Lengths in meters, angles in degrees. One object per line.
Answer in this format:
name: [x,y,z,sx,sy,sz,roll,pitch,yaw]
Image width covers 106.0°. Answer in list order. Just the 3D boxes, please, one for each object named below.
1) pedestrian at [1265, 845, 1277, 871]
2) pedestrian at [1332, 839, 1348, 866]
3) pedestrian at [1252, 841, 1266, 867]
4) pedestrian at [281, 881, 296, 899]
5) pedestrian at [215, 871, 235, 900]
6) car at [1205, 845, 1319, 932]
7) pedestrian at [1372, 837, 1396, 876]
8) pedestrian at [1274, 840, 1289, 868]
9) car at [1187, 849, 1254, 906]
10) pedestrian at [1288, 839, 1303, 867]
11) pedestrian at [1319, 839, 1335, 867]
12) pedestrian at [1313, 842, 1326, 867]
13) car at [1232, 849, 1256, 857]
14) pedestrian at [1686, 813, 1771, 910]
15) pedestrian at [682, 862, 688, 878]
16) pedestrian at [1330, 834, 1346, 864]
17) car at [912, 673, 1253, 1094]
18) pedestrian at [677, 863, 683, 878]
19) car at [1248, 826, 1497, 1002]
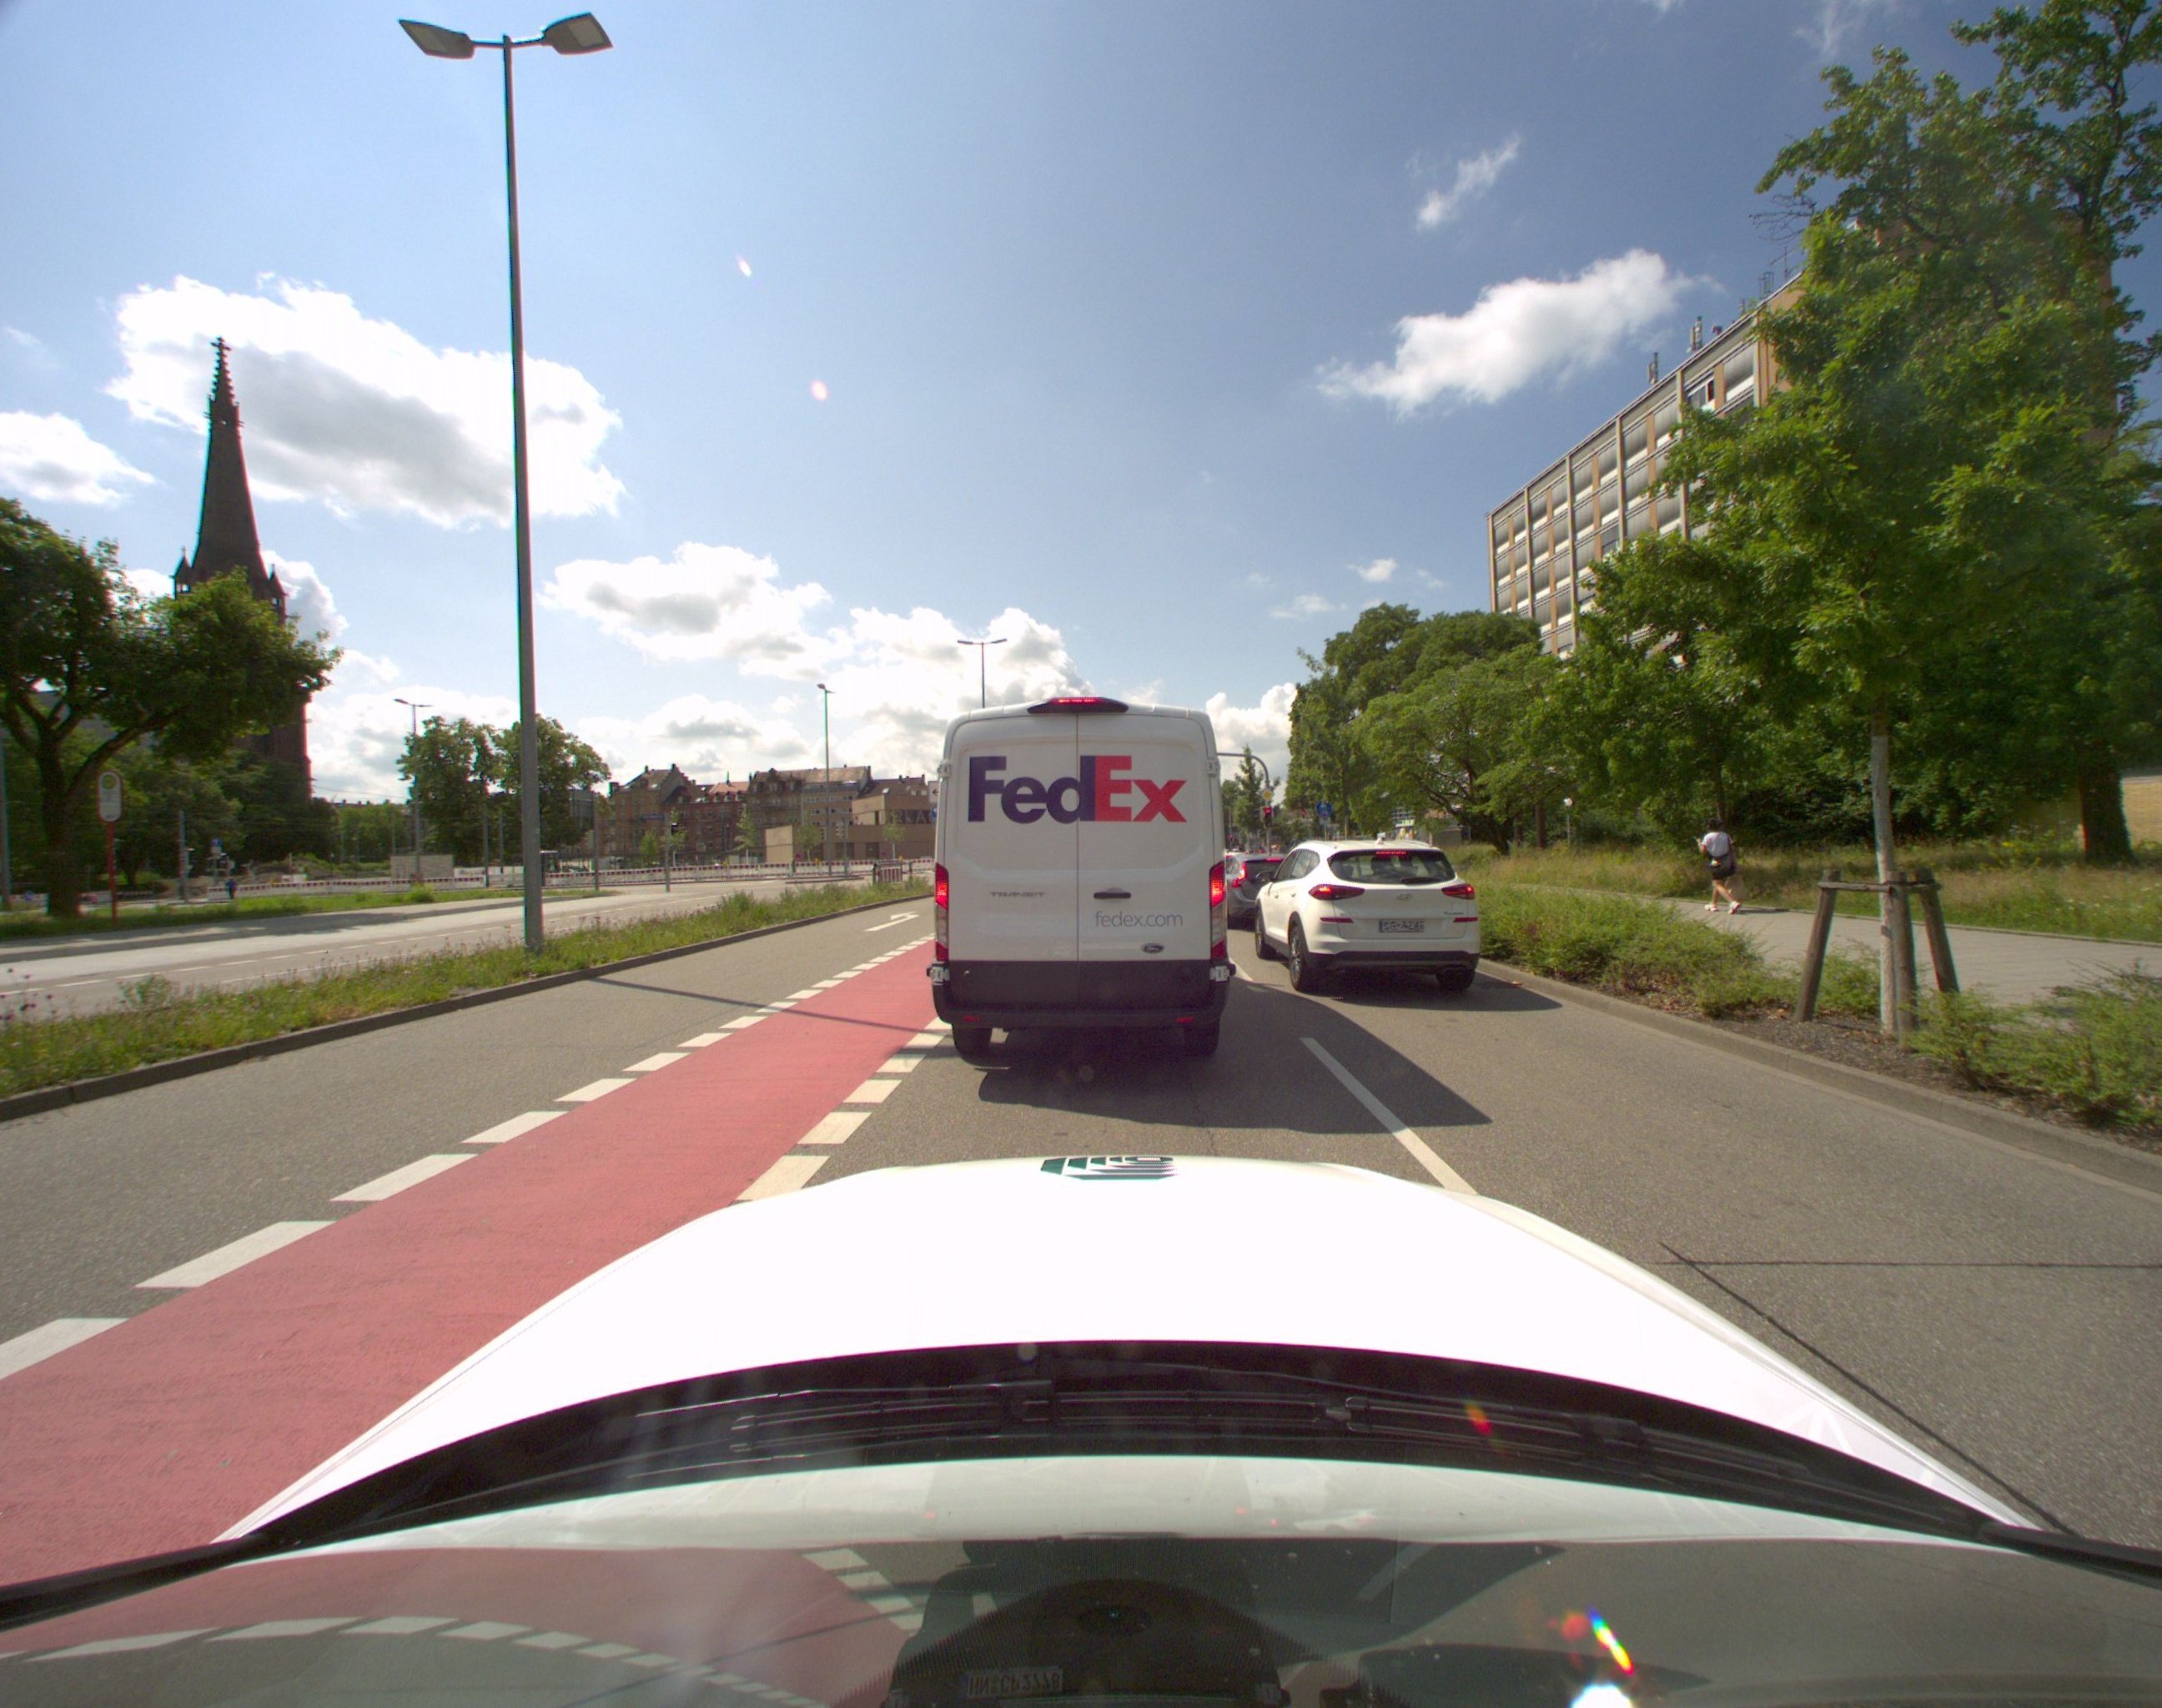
pedestrian: [13.727,0.314,58.874,0.753,1.849,0.820,-2,0,16]
pedestrian: [17.810,-0.093,56.049,0.758,1.849,0.814,-2,0,-6]
pedestrian: [13.068,-0.005,59.793,0.810,1.849,0.762,-2,0,5]
pedestrian: [-74.279,3.367,76.336,0.860,1.663,0.745,-2,0,-29]
pedestrian: [-59.570,2.173,56.676,0.644,2.013,0.632,-2,0,-1]
car: [3.609,0.625,16.841,1.684,1.549,3.724,-2,0,3]
pedestrian: [13.201,0.089,35.467,0.755,1.655,0.817,-2,0,5]
pedestrian: [13.223,-0.005,53.739,0.755,1.849,0.817,-2,0,3]
car: [3.918,0.600,23.321,1.493,1.464,3.477,-2,0,3]
pedestrian: [14.205,-0.072,53.979,0.755,1.849,0.817,-2,0,5]
pedestrian: [16.821,-0.090,55.721,0.758,1.849,0.814,-2,0,-8]
pedestrian: [17.855,0.027,61.004,0.755,1.849,0.817,-2,0,3]
car: [31.439,-0.202,157.414,4.217,1.498,1.741,-2,0,1]
pedestrian: [10.869,0.122,13.696,0.755,1.557,0.817,-2,0,4]
pedestrian: [-43.098,1.750,88.641,0.420,1.652,0.420,-1,-1,36]
pedestrian: [15.424,-0.315,48.867,0.755,1.789,0.817,-2,0,6]
car: [0.134,0.177,7.321,2.064,2.581,4.432,-2,0,3]
pedestrian: [-43.838,1.759,89.049,0.420,1.652,0.420,-1,-1,36]
car: [3.272,0.578,10.003,1.807,1.678,3.978,-2,0,3]
